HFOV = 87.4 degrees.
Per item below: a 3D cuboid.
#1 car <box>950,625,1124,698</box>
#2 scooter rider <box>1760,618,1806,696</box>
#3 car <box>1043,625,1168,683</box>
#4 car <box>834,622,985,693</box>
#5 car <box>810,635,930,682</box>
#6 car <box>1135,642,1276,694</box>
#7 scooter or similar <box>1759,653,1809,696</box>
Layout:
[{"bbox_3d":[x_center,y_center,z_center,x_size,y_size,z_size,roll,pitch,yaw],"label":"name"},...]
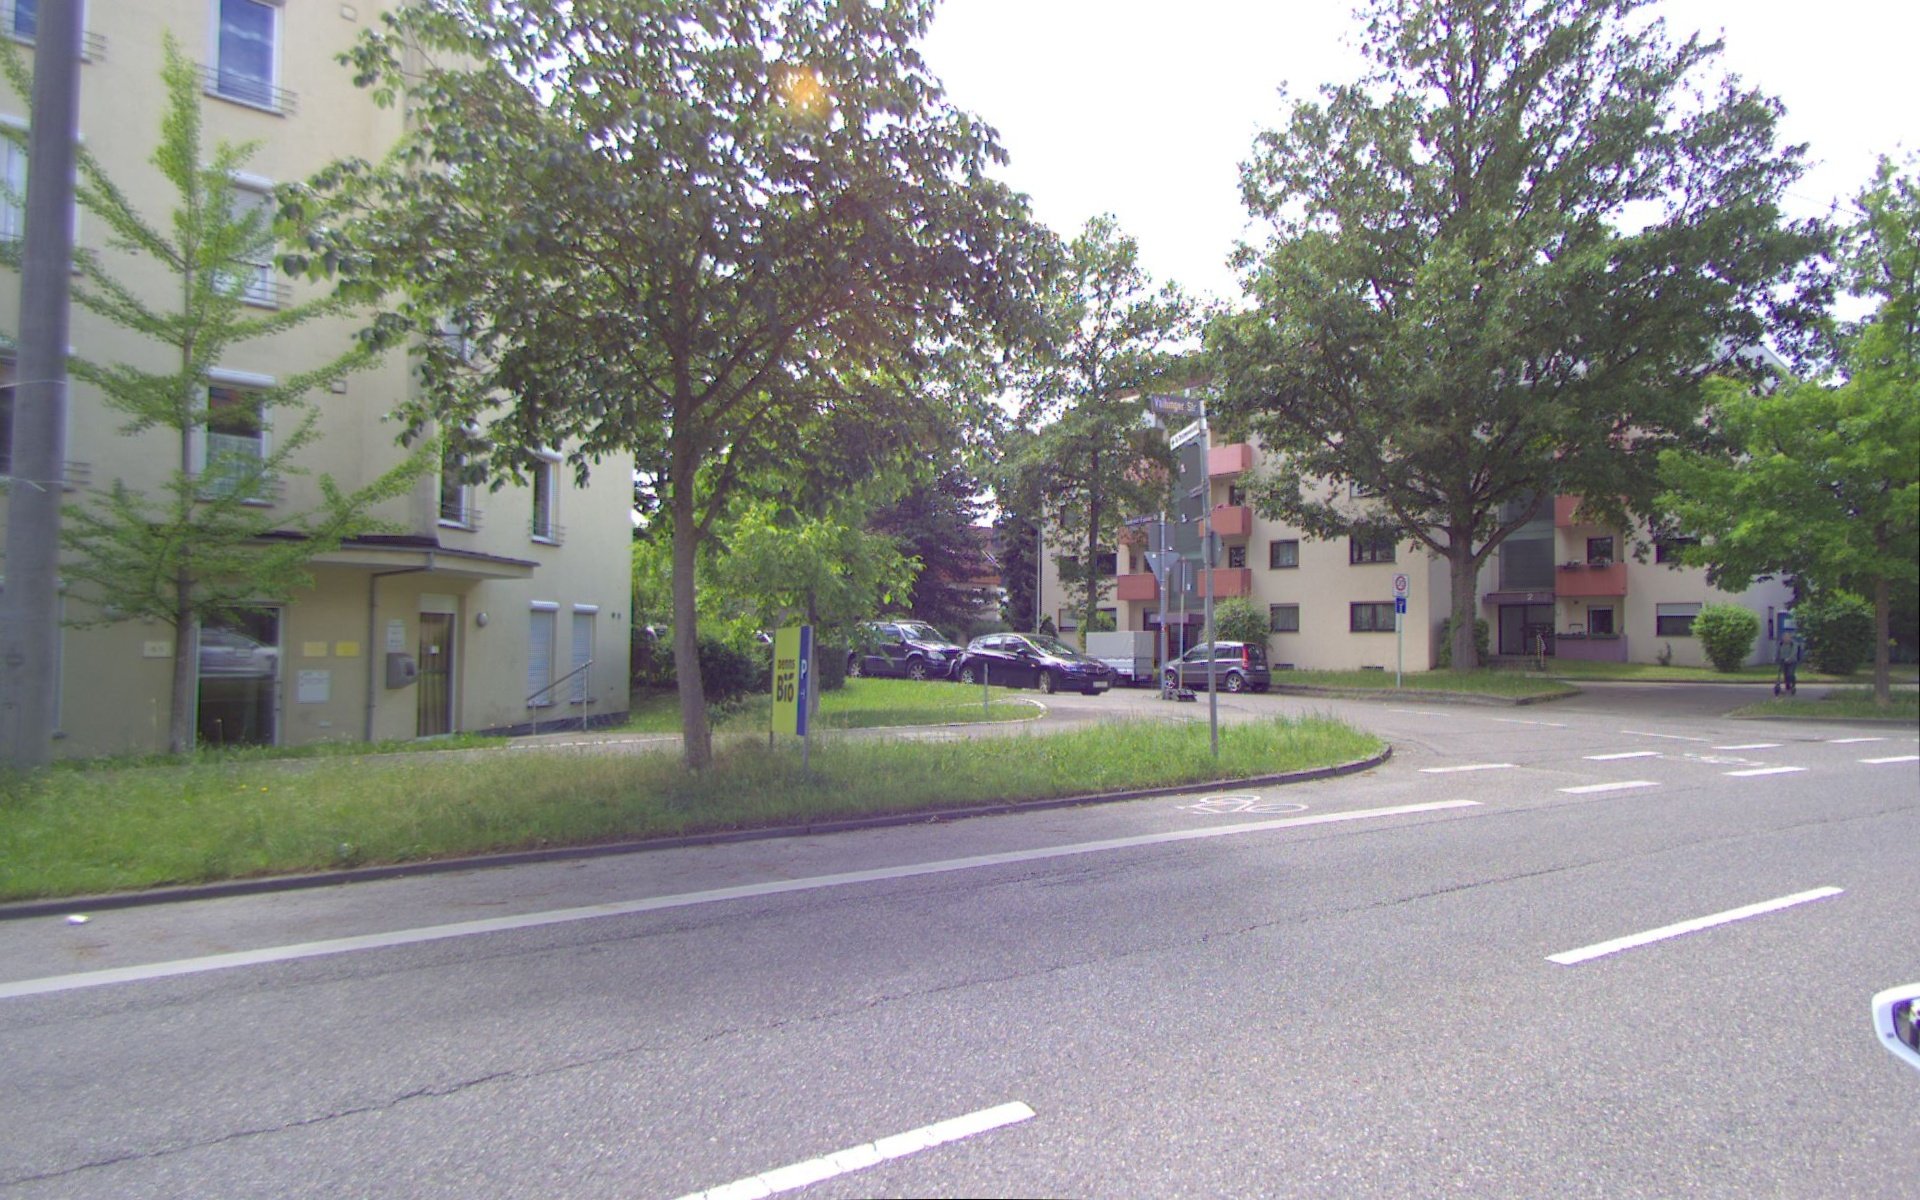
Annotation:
[{"bbox_3d":[1.759,1.403,24.014,1.725,1.417,4.101,2,0,-42],"label":"car"},{"bbox_3d":[22.211,1.530,27.113,0.785,2.040,0.673,2,0,-30],"label":"scooter rider"},{"bbox_3d":[4.925,1.883,34.404,1.832,1.868,3.952,2,-5,-42],"label":"car"},{"bbox_3d":[-1.483,1.536,27.990,1.857,1.675,4.379,2,0,-41],"label":"car"},{"bbox_3d":[-3.578,2.288,40.070,4.337,1.817,2.124,-1,-2,28],"label":"car"},{"bbox_3d":[7.513,2.044,30.951,3.945,1.471,1.686,-2,-3,44],"label":"car"},{"bbox_3d":[22.240,2.002,27.115,0.934,1.098,0.753,2,0,-30],"label":"scooter or similar"}]
